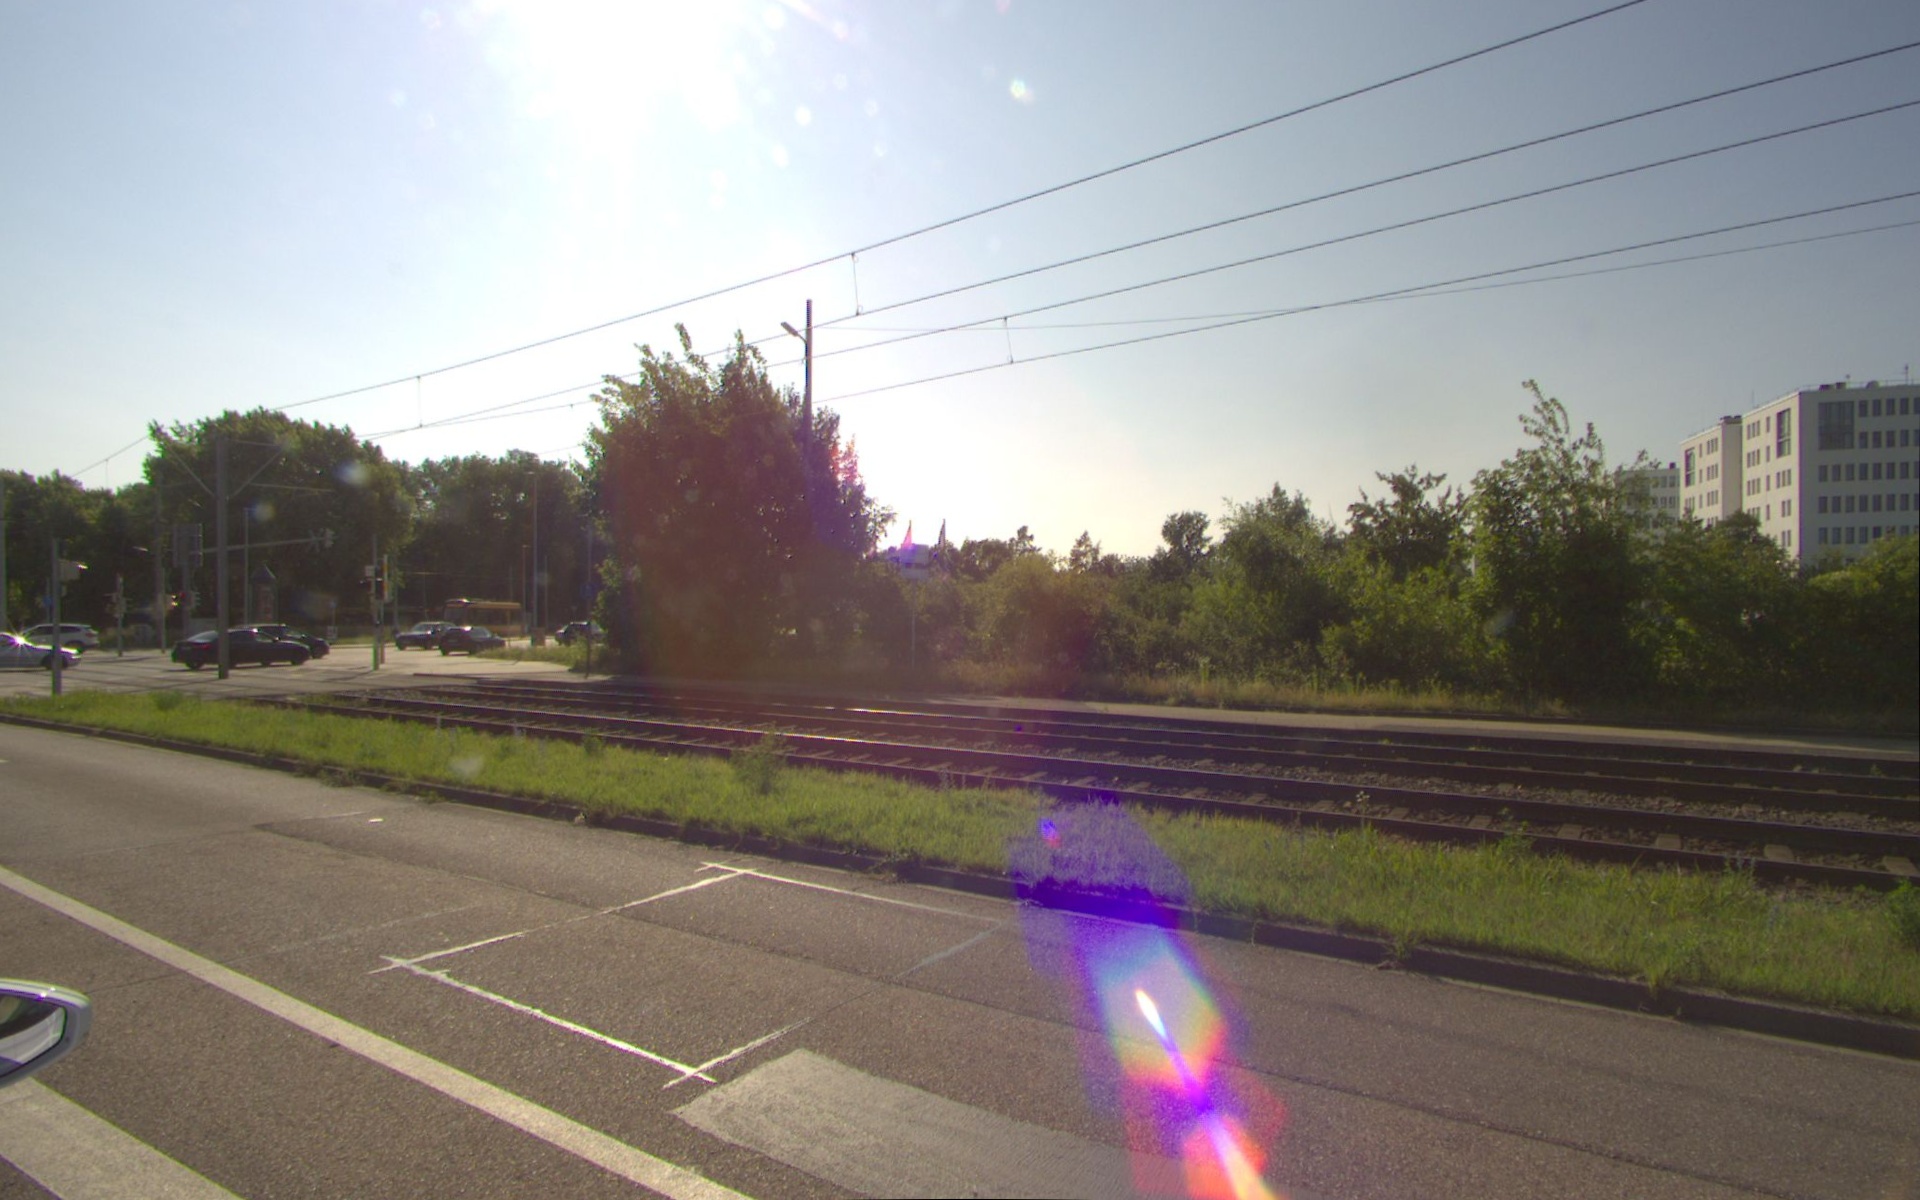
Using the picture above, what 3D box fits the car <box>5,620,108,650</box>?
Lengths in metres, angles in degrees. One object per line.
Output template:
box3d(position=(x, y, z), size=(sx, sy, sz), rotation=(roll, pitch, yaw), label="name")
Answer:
box3d(position=(-48.224, 1.846, 53.565), size=(3.849, 1.505, 1.787), rotation=(1, -1, -34), label="car")

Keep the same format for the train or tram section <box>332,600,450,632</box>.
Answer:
box3d(position=(-66.505, 1.873, 117.218), size=(11.992, 3.626, 3.054), rotation=(0, -1, -1), label="train or tram section")

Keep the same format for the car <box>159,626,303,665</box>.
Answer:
box3d(position=(-27.402, 1.675, 37.855), size=(1.961, 1.371, 4.408), rotation=(0, -1, 6), label="car")

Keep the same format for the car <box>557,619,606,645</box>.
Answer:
box3d(position=(-25.300, 2.118, 67.087), size=(1.961, 1.686, 4.633), rotation=(0, -1, -6), label="car")

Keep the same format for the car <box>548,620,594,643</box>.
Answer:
box3d(position=(-28.373, 2.275, 73.237), size=(1.961, 1.686, 4.633), rotation=(0, -1, -6), label="car")

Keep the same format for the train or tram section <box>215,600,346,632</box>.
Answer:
box3d(position=(-78.218, 1.849, 115.616), size=(12.027, 3.626, 3.045), rotation=(0, -1, -22), label="train or tram section")

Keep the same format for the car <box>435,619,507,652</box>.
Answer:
box3d(position=(-26.113, 1.844, 53.684), size=(1.961, 1.686, 4.633), rotation=(0, -1, -6), label="car")

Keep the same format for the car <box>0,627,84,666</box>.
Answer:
box3d(position=(-34.490, 1.673, 36.094), size=(4.365, 1.371, 1.981), rotation=(1, -1, -43), label="car")

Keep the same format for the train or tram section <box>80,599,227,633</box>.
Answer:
box3d(position=(-88.982, 1.746, 110.803), size=(12.249, 3.626, 3.041), rotation=(0, -1, -27), label="train or tram section")

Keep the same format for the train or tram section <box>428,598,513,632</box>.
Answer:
box3d(position=(-55.561, 1.735, 113.440), size=(12.061, 3.626, 3.037), rotation=(-1, -1, 34), label="train or tram section")

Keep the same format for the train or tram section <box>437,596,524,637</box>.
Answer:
box3d(position=(-44.370, 1.563, 93.219), size=(2.995, 3.626, 11.853), rotation=(0, -1, -3), label="train or tram section")

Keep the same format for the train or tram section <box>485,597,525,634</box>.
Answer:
box3d(position=(-47.654, 1.618, 104.609), size=(3.009, 3.626, 12.174), rotation=(0, -1, -28), label="train or tram section")

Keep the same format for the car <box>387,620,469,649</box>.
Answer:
box3d(position=(-31.683, 2.008, 59.766), size=(2.005, 1.583, 4.861), rotation=(0, 0, 5), label="car")
